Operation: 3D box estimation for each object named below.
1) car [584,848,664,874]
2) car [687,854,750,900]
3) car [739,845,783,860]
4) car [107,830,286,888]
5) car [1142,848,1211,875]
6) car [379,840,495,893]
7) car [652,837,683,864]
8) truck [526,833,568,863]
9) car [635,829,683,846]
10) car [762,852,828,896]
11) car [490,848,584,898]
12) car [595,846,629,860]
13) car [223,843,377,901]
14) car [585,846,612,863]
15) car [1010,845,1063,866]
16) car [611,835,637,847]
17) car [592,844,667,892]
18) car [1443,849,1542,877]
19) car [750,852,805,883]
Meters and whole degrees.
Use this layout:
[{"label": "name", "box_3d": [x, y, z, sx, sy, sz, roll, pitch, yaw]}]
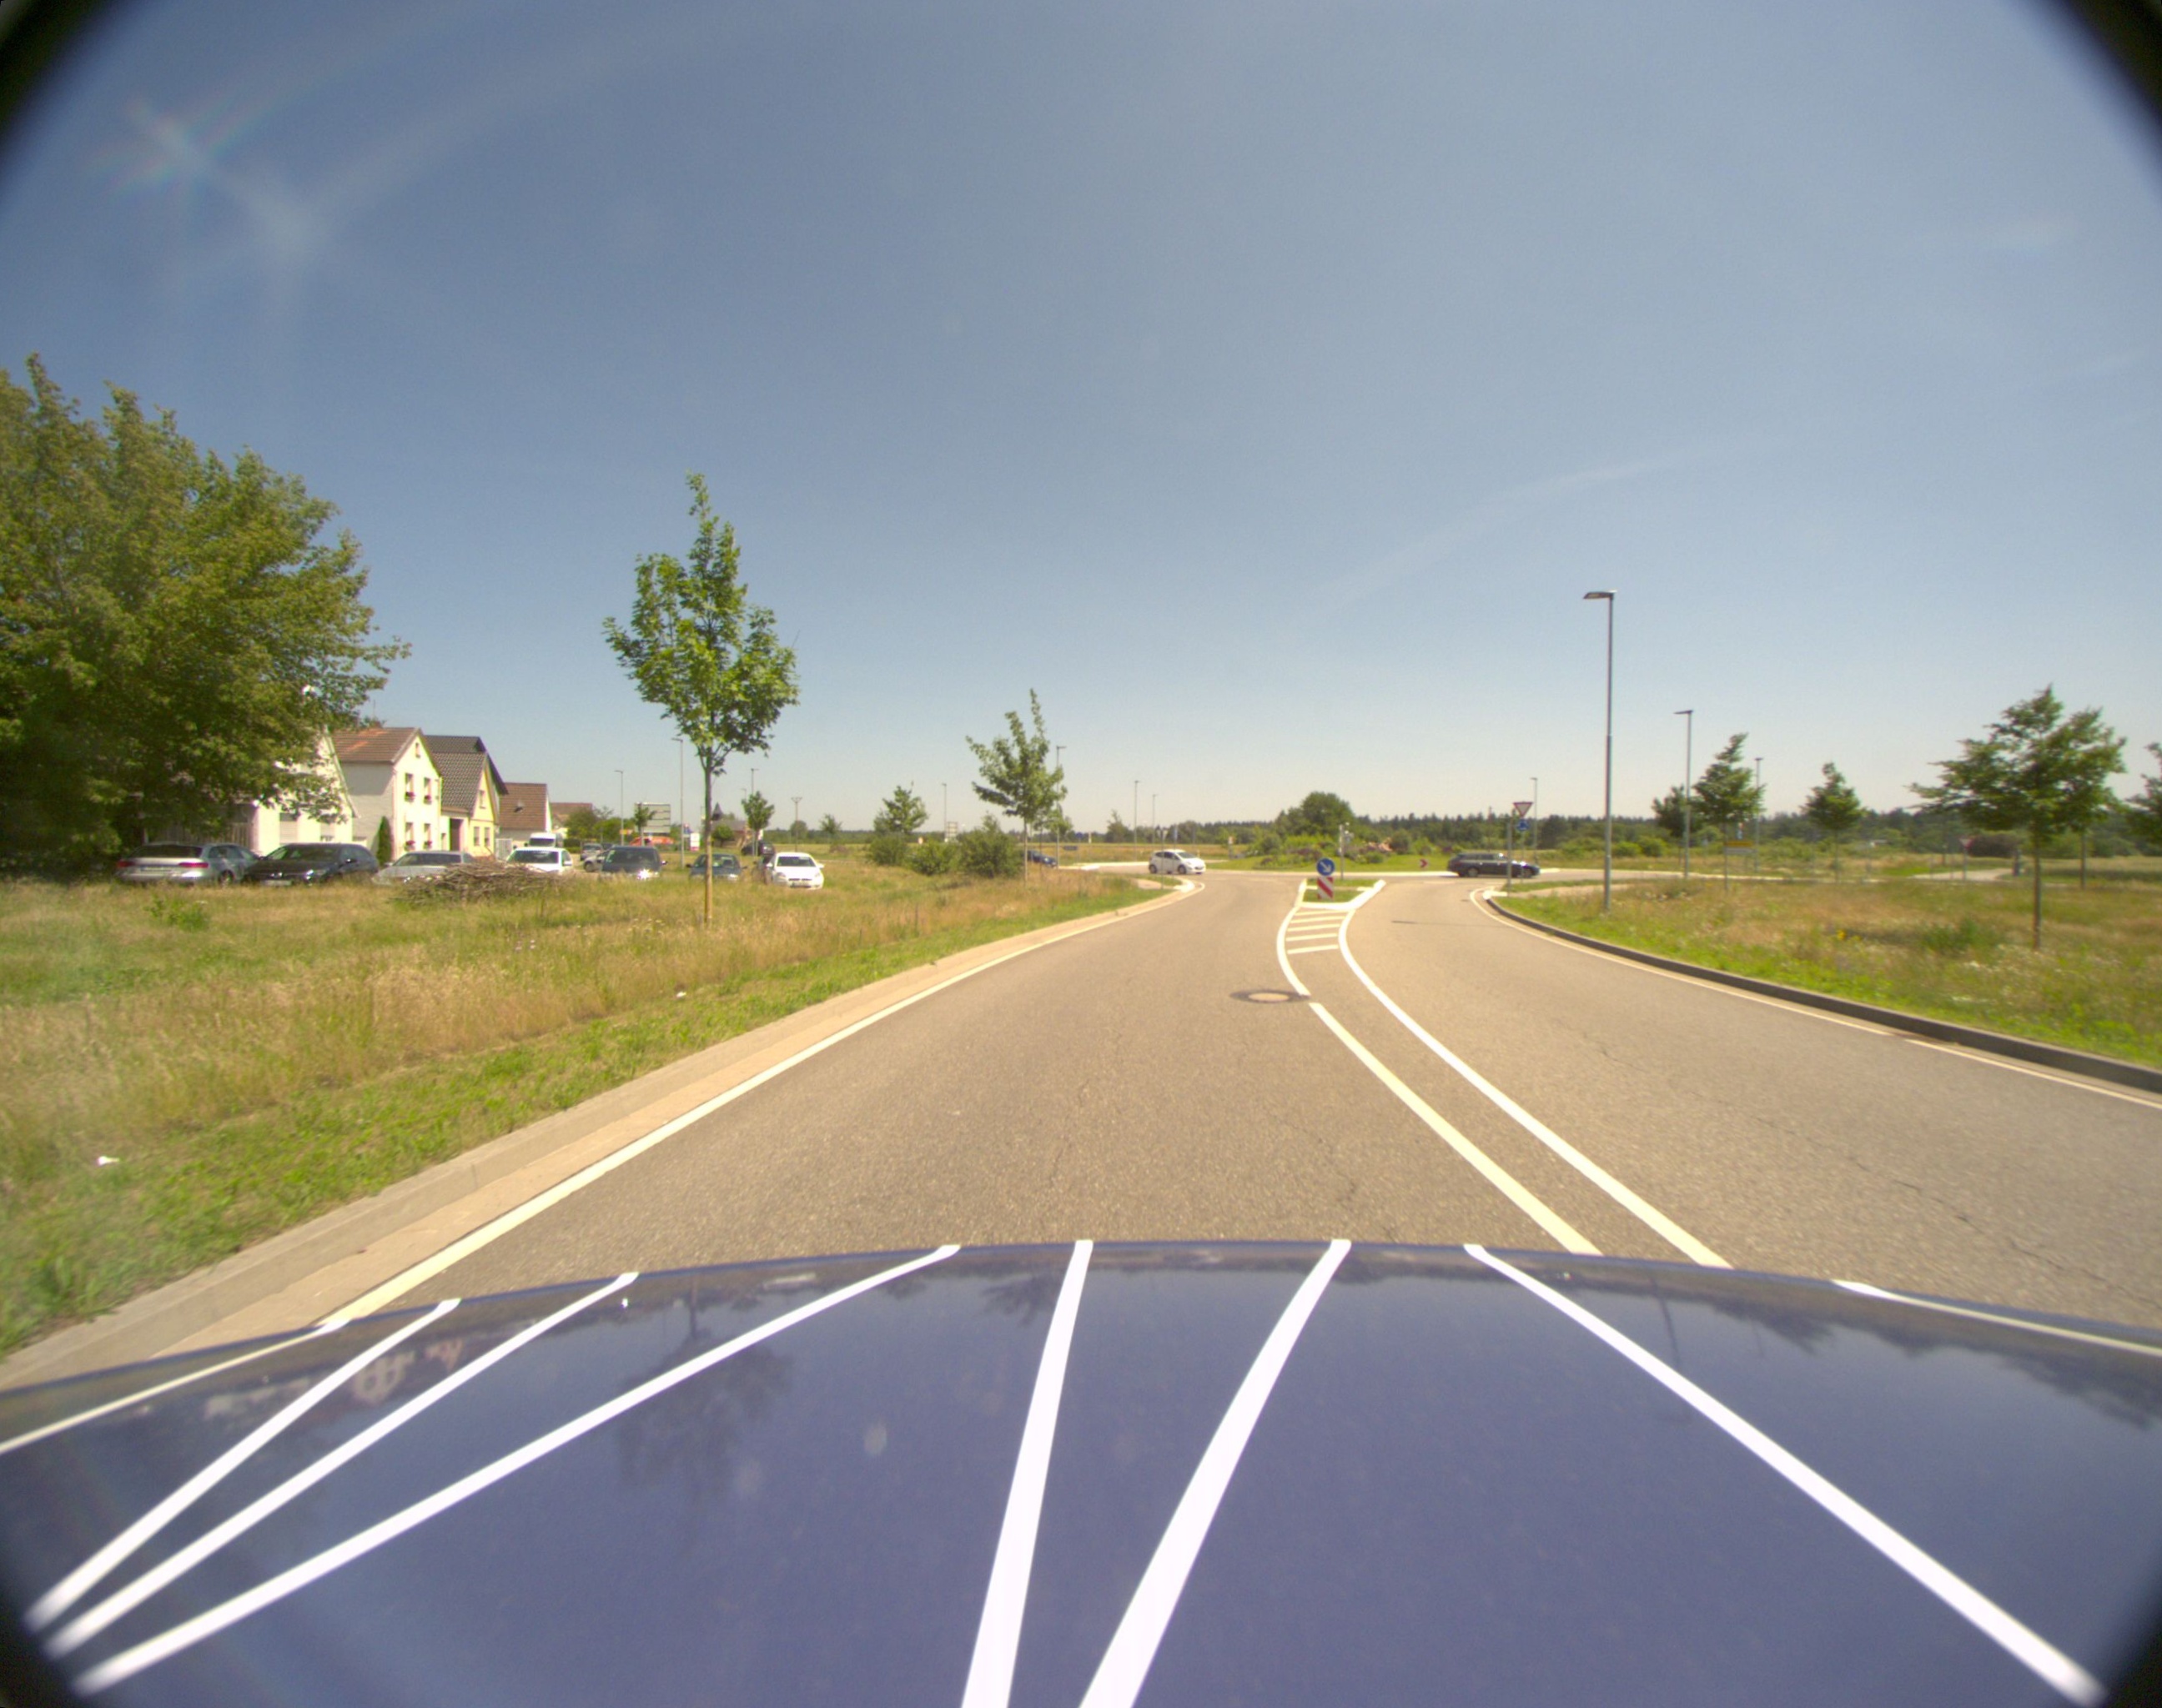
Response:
[{"label": "car", "box_3d": [-26.429, 0.371, 43.942, 3.992, 1.385, 1.652, 1, 1, 15]}, {"label": "car", "box_3d": [-12.334, 0.736, 25.859, 1.776, 1.434, 3.958, 0, 0, -26]}, {"label": "car", "box_3d": [-35.201, -0.157, 83.447, 4.876, 1.640, 1.957, -1, 1, 32]}, {"label": "car", "box_3d": [-23.934, 0.141, 20.771, 1.776, 1.434, 3.958, 0, 0, -26]}, {"label": "car", "box_3d": [6.347, 0.455, 50.680, 1.873, 1.553, 4.507, -2, 3, -39]}, {"label": "car", "box_3d": [-19.074, 0.351, 22.709, 1.776, 1.434, 3.958, 0, 0, -27]}, {"label": "car", "box_3d": [-29.796, -0.273, 54.701, 1.857, 1.820, 3.990, 0, 1, -30]}, {"label": "truck", "box_3d": [-46.534, -0.524, 66.347, 2.240, 2.492, 5.622, 0, 1, -27]}, {"label": "car", "box_3d": [-66.253, -2.618, 119.401, 6.139, 2.569, 2.353, 0, 1, -14]}, {"label": "car", "box_3d": [-10.433, 0.659, 27.530, 1.750, 1.419, 3.990, 0, 1, -28]}, {"label": "car", "box_3d": [-17.172, 0.572, 24.184, 1.776, 1.434, 3.958, 0, 0, -26]}, {"label": "car", "box_3d": [-48.296, -0.103, 78.376, 1.855, 1.343, 3.762, 0, 1, -13]}, {"label": "car", "box_3d": [-21.579, 0.469, 21.198, 1.776, 1.434, 3.958, 0, 0, -26]}, {"label": "car", "box_3d": [-43.639, 0.014, 68.716, 1.857, 1.487, 3.990, 0, 1, -30]}, {"label": "car", "box_3d": [-3.575, 0.121, 60.824, 4.138, 1.553, 1.725, 2, 3, 40]}, {"label": "car", "box_3d": [-62.101, -1.724, 103.125, 3.988, 1.607, 1.903, 1, 1, 41]}, {"label": "car", "box_3d": [-14.609, 0.432, 24.780, 1.776, 1.434, 3.958, 0, 0, -26]}, {"label": "car", "box_3d": [23.147, 0.498, 42.888, 4.514, 1.427, 1.870, 0, 3, 8]}, {"label": "car", "box_3d": [-14.640, 0.612, 36.555, 1.750, 1.304, 3.989, 0, 1, -33]}]
